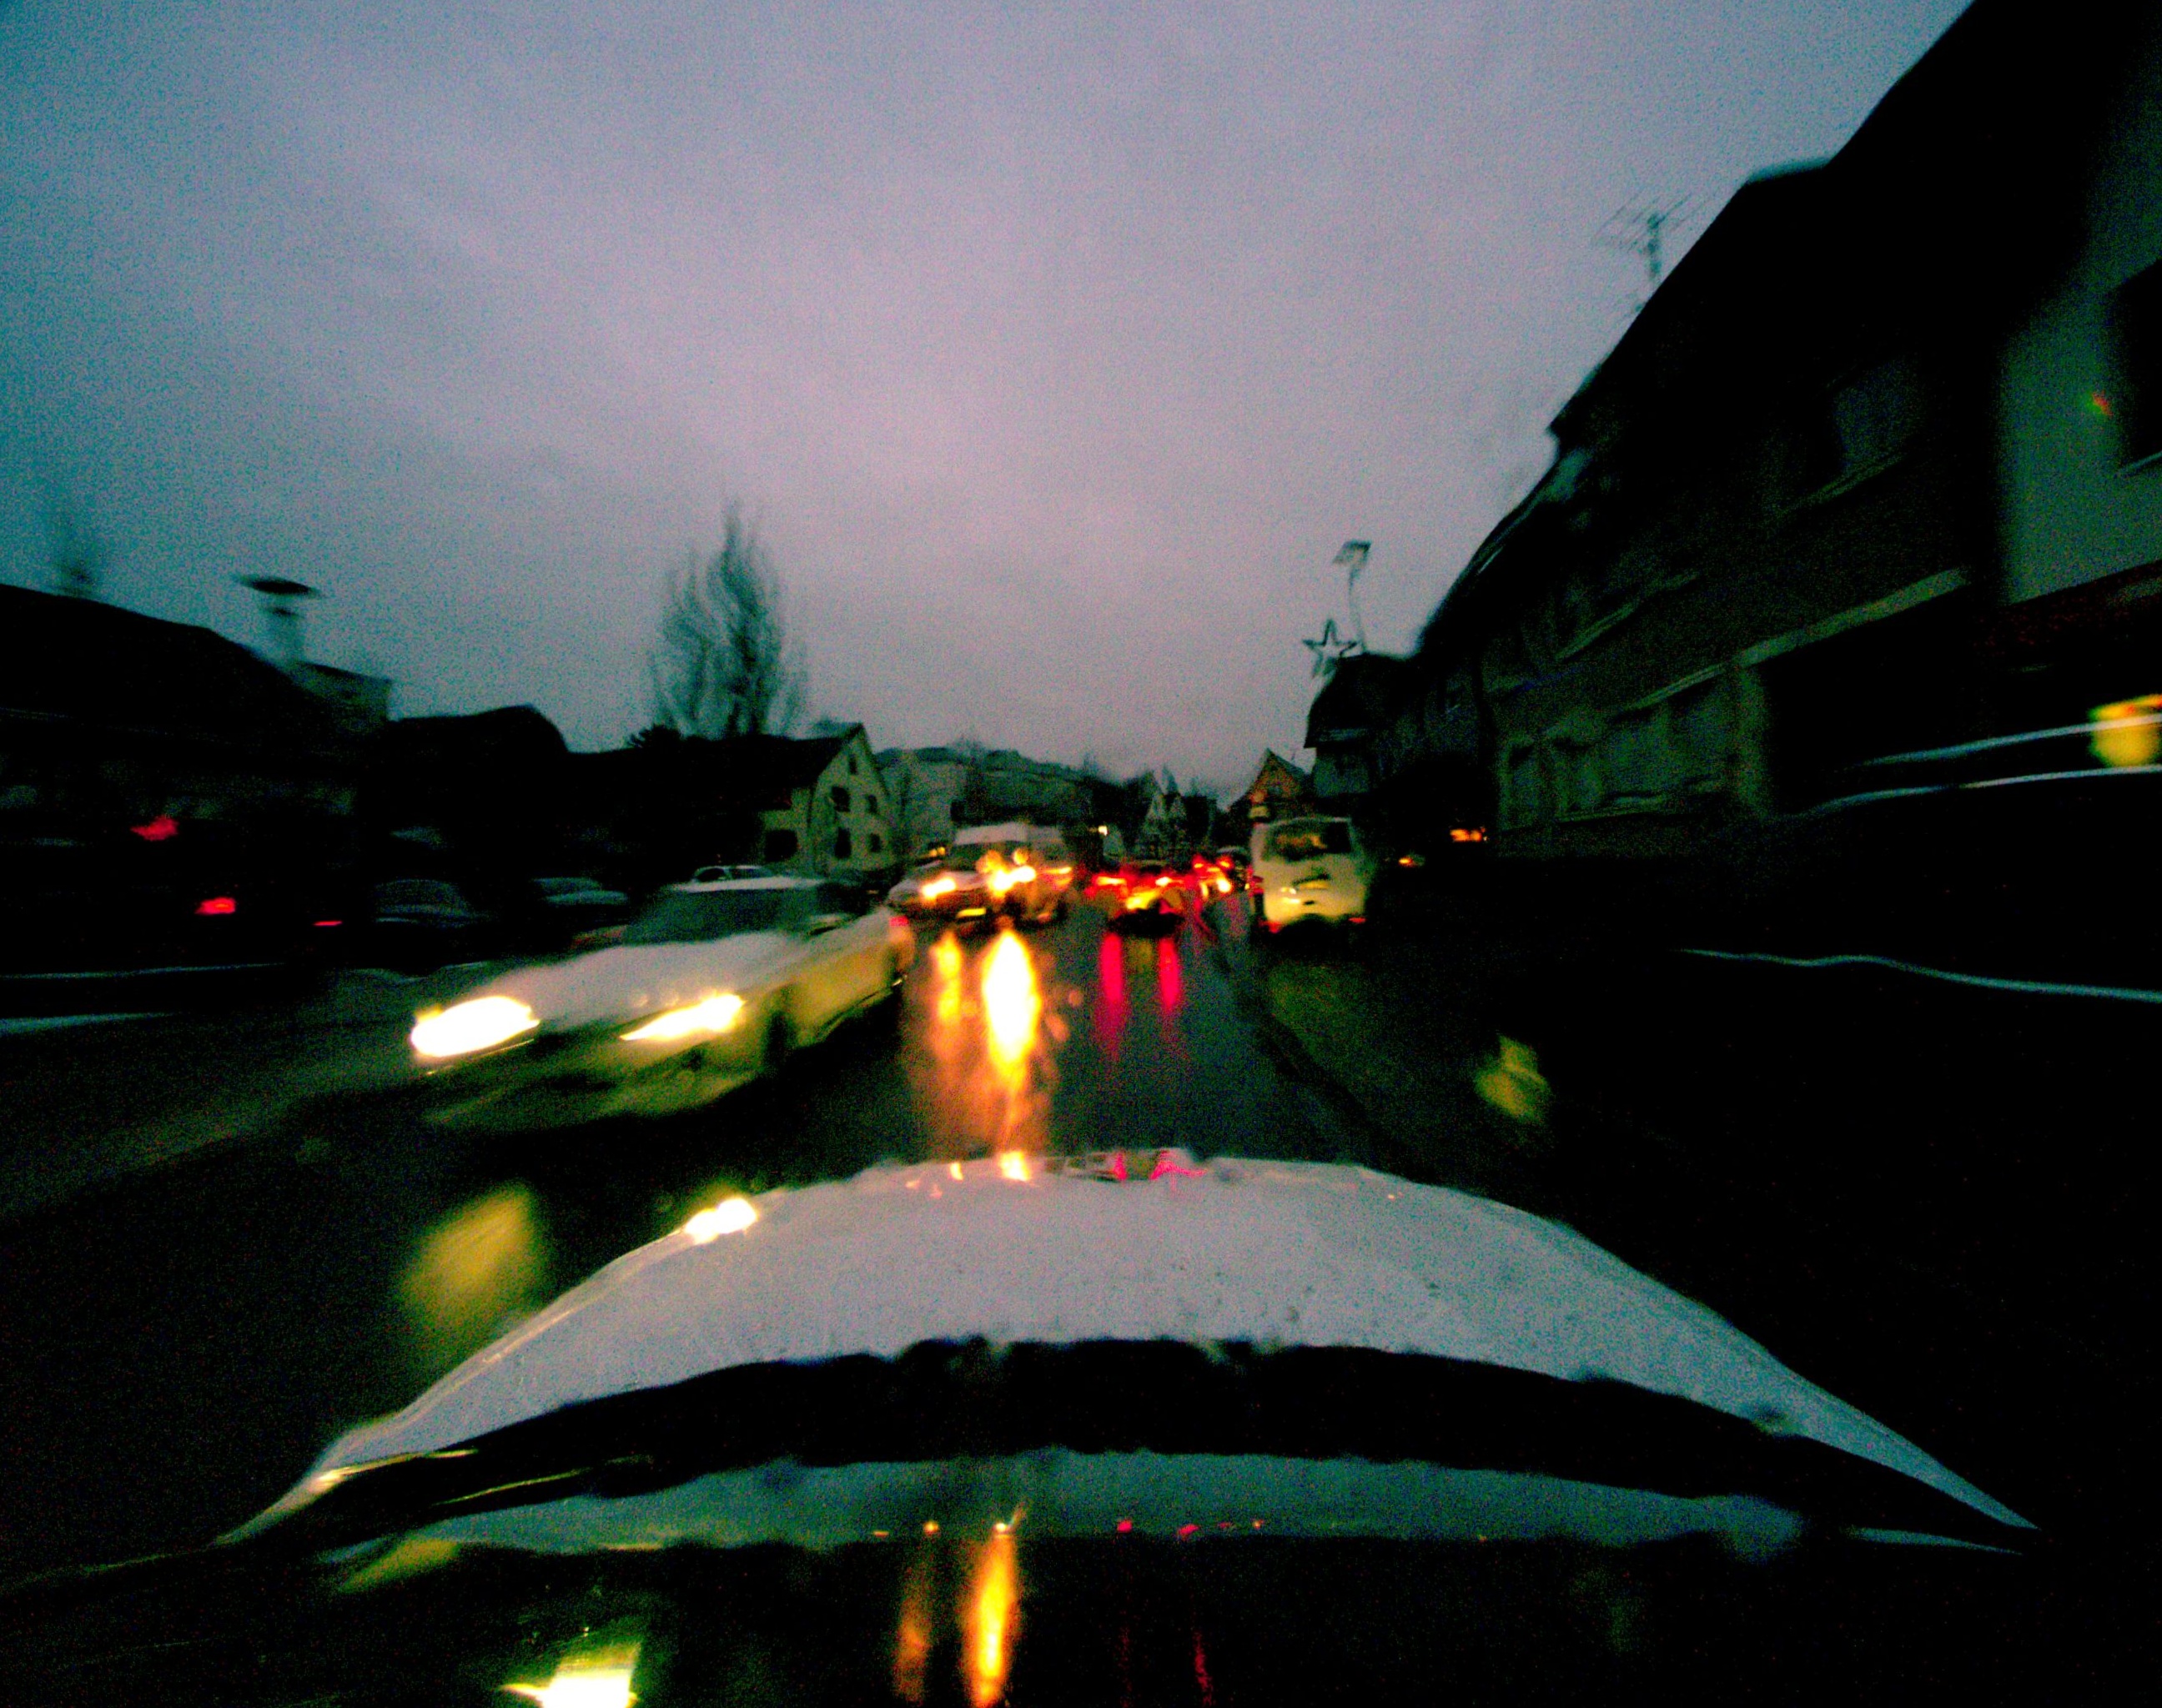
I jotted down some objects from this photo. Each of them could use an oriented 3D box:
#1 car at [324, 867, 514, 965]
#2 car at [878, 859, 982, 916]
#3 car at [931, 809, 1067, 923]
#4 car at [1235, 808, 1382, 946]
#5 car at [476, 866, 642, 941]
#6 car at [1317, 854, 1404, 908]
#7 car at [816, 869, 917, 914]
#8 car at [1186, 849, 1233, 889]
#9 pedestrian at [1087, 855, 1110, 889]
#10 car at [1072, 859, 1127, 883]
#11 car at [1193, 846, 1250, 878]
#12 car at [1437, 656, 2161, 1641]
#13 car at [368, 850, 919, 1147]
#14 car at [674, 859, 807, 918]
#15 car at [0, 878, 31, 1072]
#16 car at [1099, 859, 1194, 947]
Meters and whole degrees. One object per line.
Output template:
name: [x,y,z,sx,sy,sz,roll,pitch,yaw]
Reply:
car: [-12.034,1.068,14.725,3.882,1.459,1.774,-3,0,38]
car: [-4.494,0.959,24.924,1.895,1.533,4.263,-2,0,6]
car: [-1.898,0.270,21.363,2.183,2.490,6.154,-2,0,7]
car: [3.782,0.344,14.360,1.961,1.960,4.865,-2,0,10]
car: [-11.633,1.063,18.056,4.021,1.459,1.769,-3,-1,37]
car: [8.914,0.823,26.286,1.726,1.561,3.668,-3,-1,4]
car: [-8.176,1.366,30.907,2.012,1.530,3.950,-1,0,-44]
car: [5.653,0.633,35.528,1.785,1.662,4.013,-1,-1,12]
pedestrian: [0.987,0.998,45.558,0.746,1.867,1.067,-3,-1,33]
car: [1.238,1.168,56.010,1.747,1.477,4.045,-2,-1,-34]
car: [8.597,0.446,49.498,1.927,1.750,4.880,-4,-1,27]
car: [2.831,0.465,2.176,1.966,1.661,4.464,-2,0,3]
car: [-2.815,0.784,6.651,1.818,1.518,4.551,-3,0,2]
car: [-10.672,1.071,25.378,4.596,1.654,2.000,-3,-2,41]
car: [-11.412,1.087,6.113,4.416,1.632,2.157,-2,-1,3]
car: [1.590,1.075,19.945,1.984,1.795,4.654,-2,0,4]
